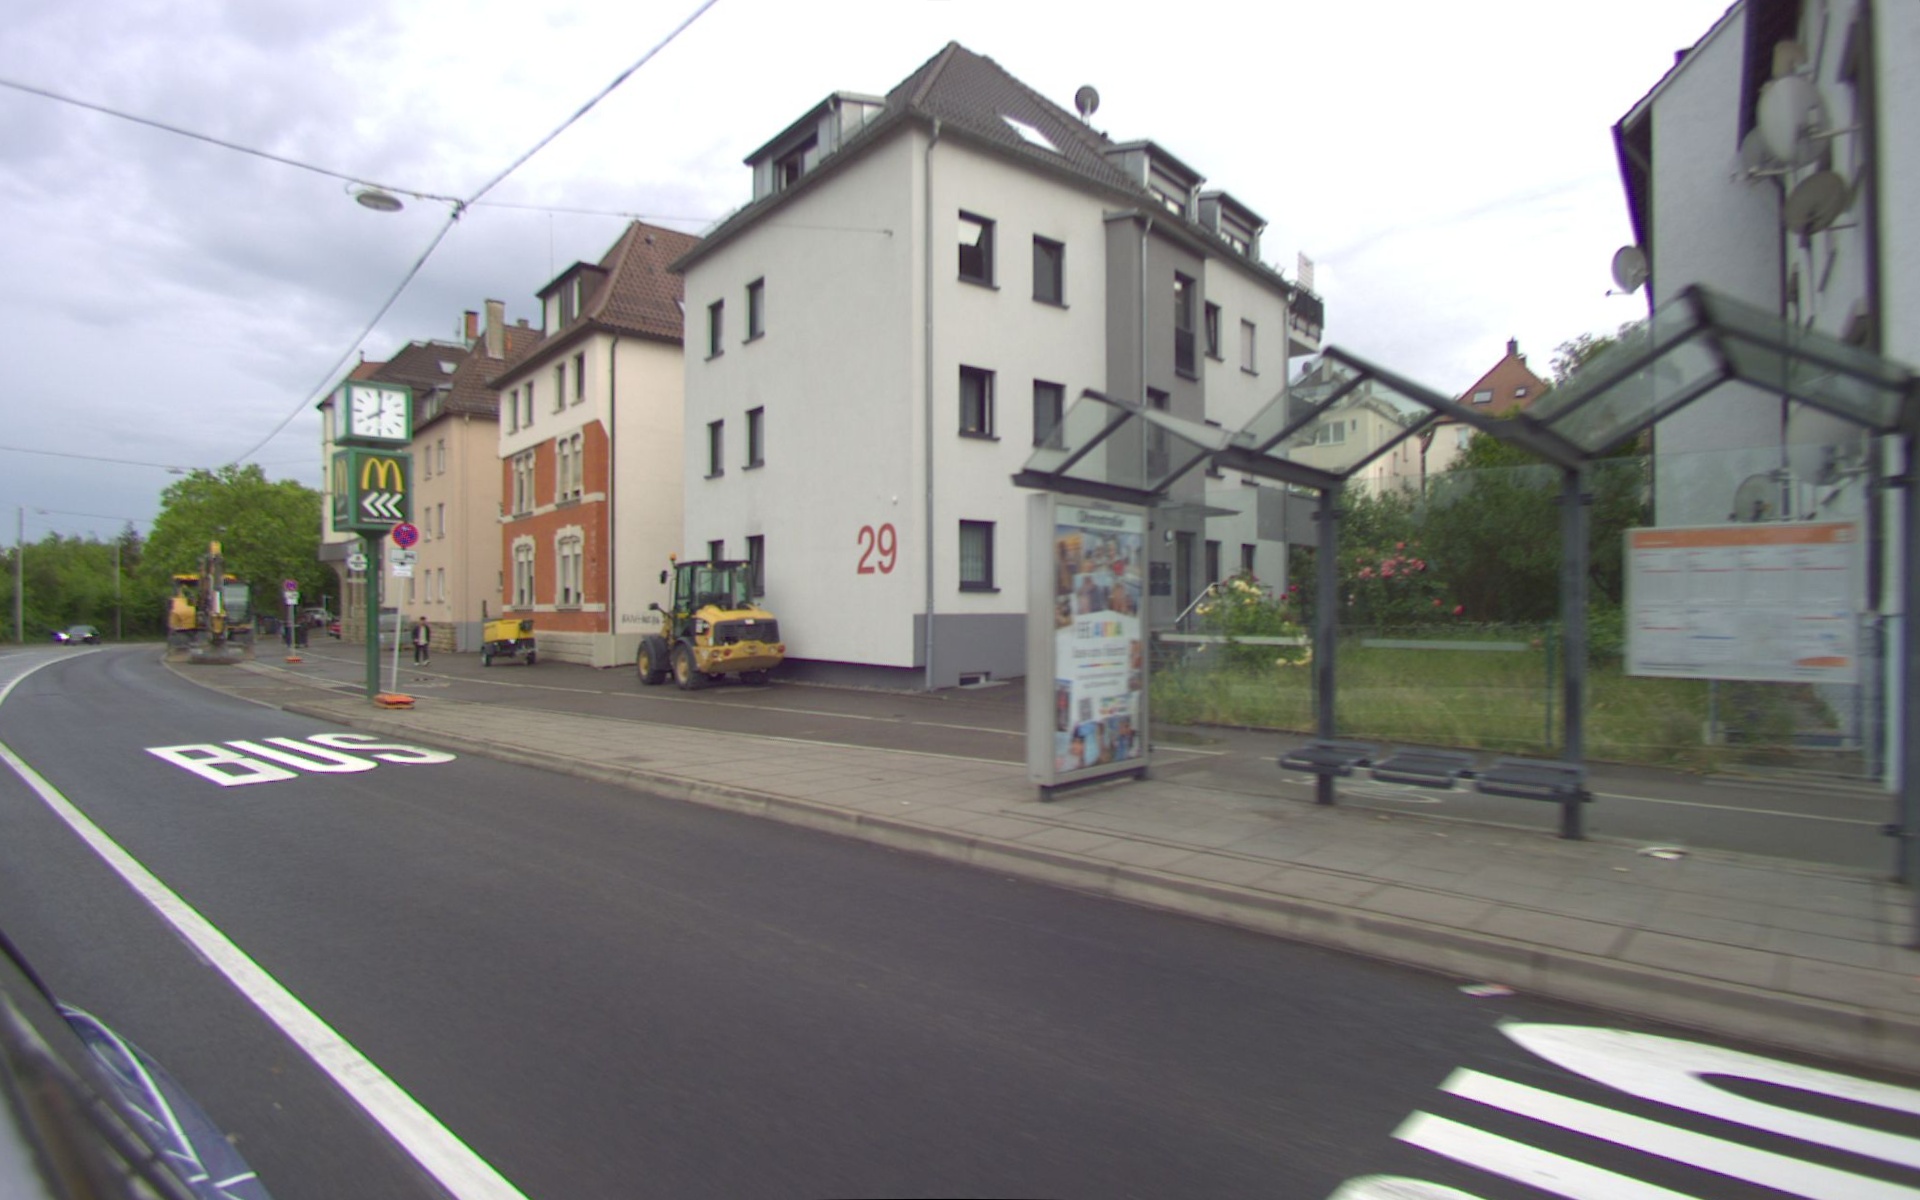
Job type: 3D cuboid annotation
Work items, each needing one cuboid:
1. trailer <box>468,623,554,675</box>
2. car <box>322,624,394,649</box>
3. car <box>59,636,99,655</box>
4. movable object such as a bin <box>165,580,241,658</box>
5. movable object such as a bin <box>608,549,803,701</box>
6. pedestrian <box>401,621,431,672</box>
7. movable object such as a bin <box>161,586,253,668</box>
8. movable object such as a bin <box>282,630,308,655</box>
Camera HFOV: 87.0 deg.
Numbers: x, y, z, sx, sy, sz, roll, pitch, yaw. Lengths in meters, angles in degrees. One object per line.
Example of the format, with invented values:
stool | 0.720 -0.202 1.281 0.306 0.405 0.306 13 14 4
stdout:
trailer | -13.436 1.436 30.180 1.307 1.409 4.003 0 -1 -39
car | -40.975 2.466 68.915 3.936 1.677 1.915 1 -2 -39
car | -64.633 3.351 74.297 1.579 1.312 3.724 -1 -1 -30
movable object such as a bin | -40.486 1.034 54.363 2.908 3.873 8.148 0 -2 -34
movable object such as a bin | -5.514 0.504 21.433 2.102 2.828 4.988 -2 -1 -38
pedestrian | -17.167 1.461 31.934 0.595 1.540 1.039 -1 -1 -42
movable object such as a bin | -30.638 1.111 41.122 2.788 3.136 4.641 0 -2 -40
movable object such as a bin | -35.816 2.272 54.517 1.142 1.312 1.250 0 -2 -34
